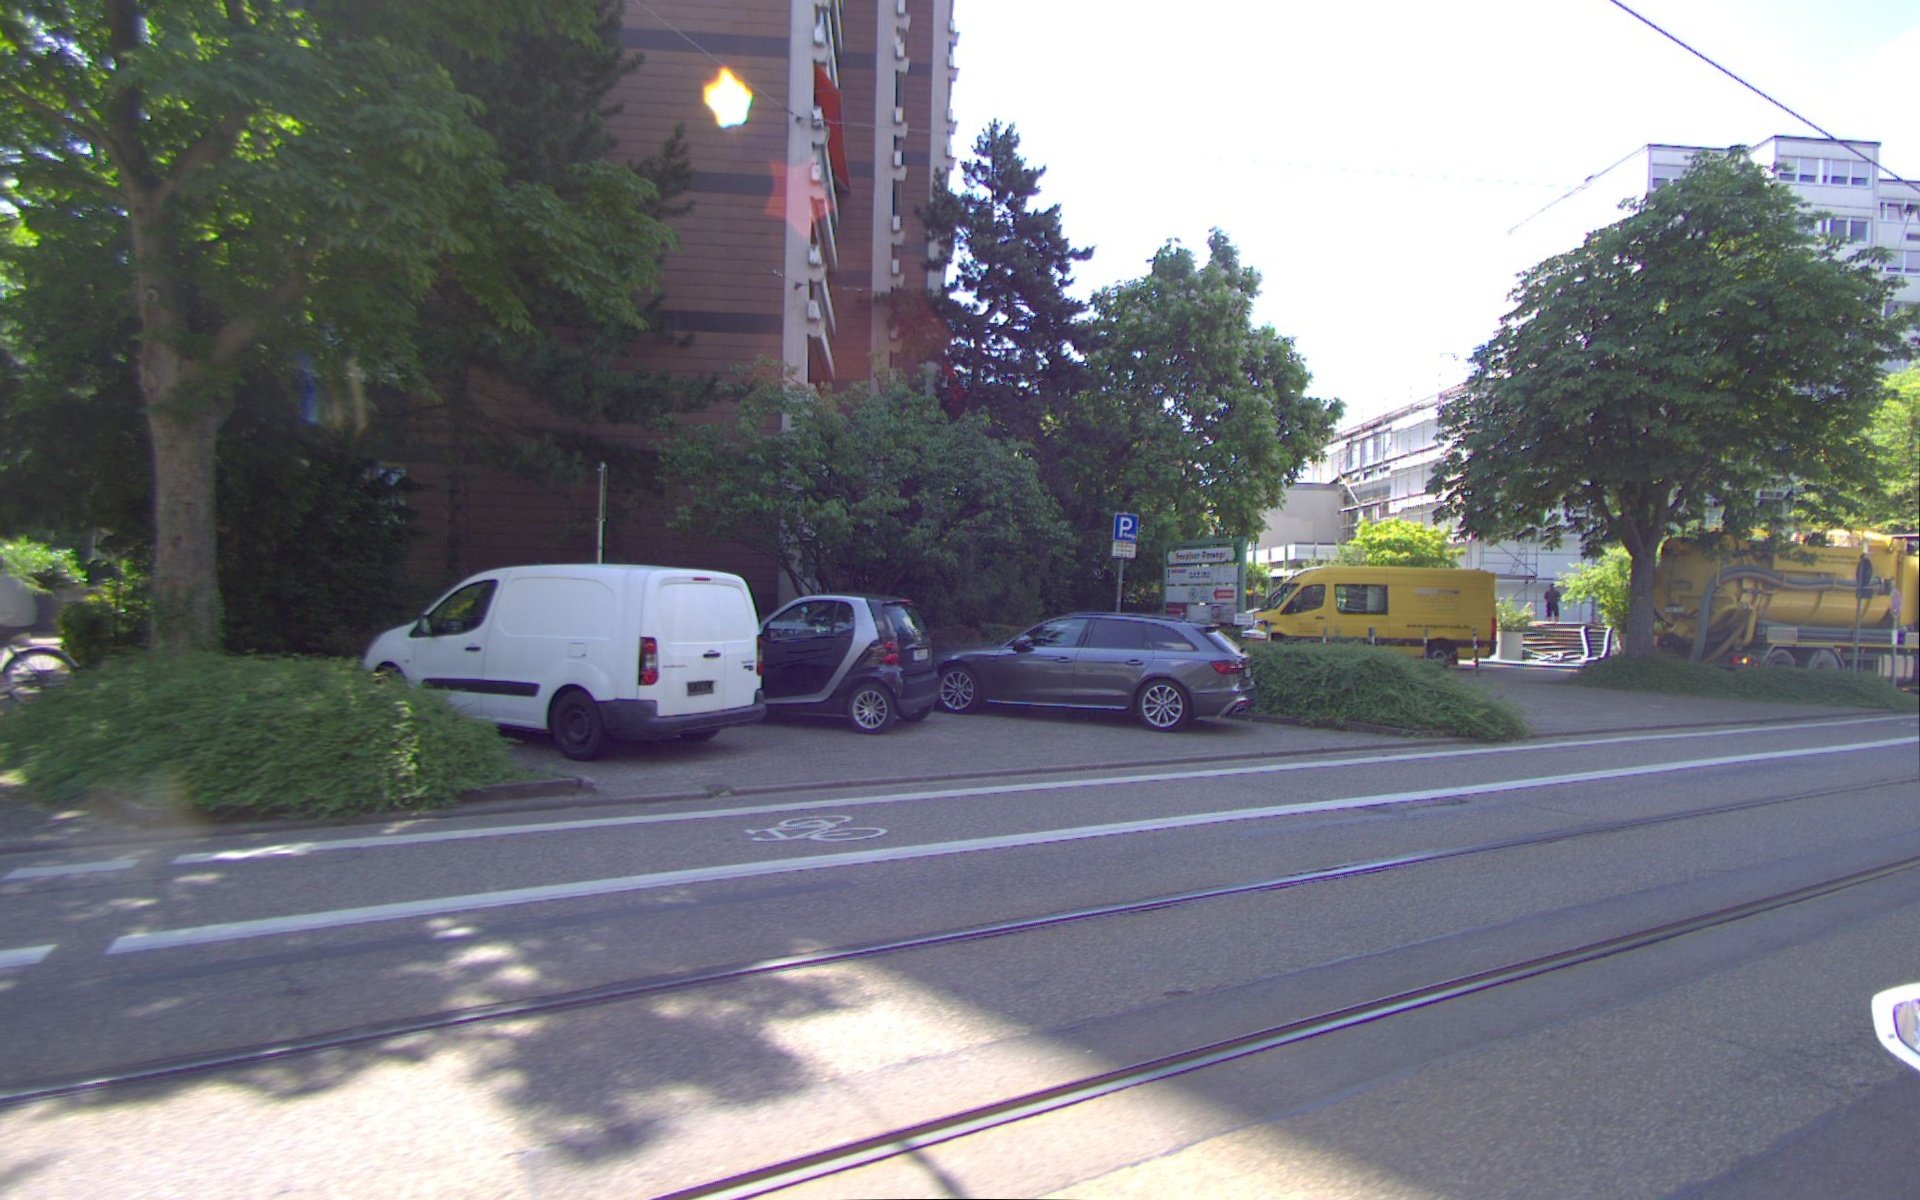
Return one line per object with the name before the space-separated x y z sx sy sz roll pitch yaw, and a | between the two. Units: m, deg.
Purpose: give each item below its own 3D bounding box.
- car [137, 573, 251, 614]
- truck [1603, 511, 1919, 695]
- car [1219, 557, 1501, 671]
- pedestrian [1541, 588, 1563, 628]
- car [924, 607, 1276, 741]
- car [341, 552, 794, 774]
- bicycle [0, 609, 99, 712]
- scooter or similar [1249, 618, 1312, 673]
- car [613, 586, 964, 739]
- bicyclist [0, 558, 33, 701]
car | -37.403 -0.319 49.156 3.932 1.807 1.994 2 1 -14
truck | 21.293 0.212 24.677 10.785 3.893 2.714 2 1 -16
car | 10.578 0.363 26.958 6.592 2.599 2.185 3 0 0
pedestrian | 23.986 0.334 40.701 0.608 1.576 0.478 1 -2 -3
car | 1.889 0.889 13.524 4.361 1.413 1.772 2 1 22
car | -4.109 0.490 10.379 4.465 1.815 1.898 2 1 28
bicycle | -10.333 0.630 10.567 1.856 1.061 0.515 1 1 -33
scooter or similar | 6.858 0.980 21.494 1.351 1.139 0.382 1 1 -26
car | -2.087 0.672 12.439 3.872 1.553 1.772 2 1 19
bicyclist | -10.327 0.298 10.553 0.772 1.501 0.478 1 1 -32
